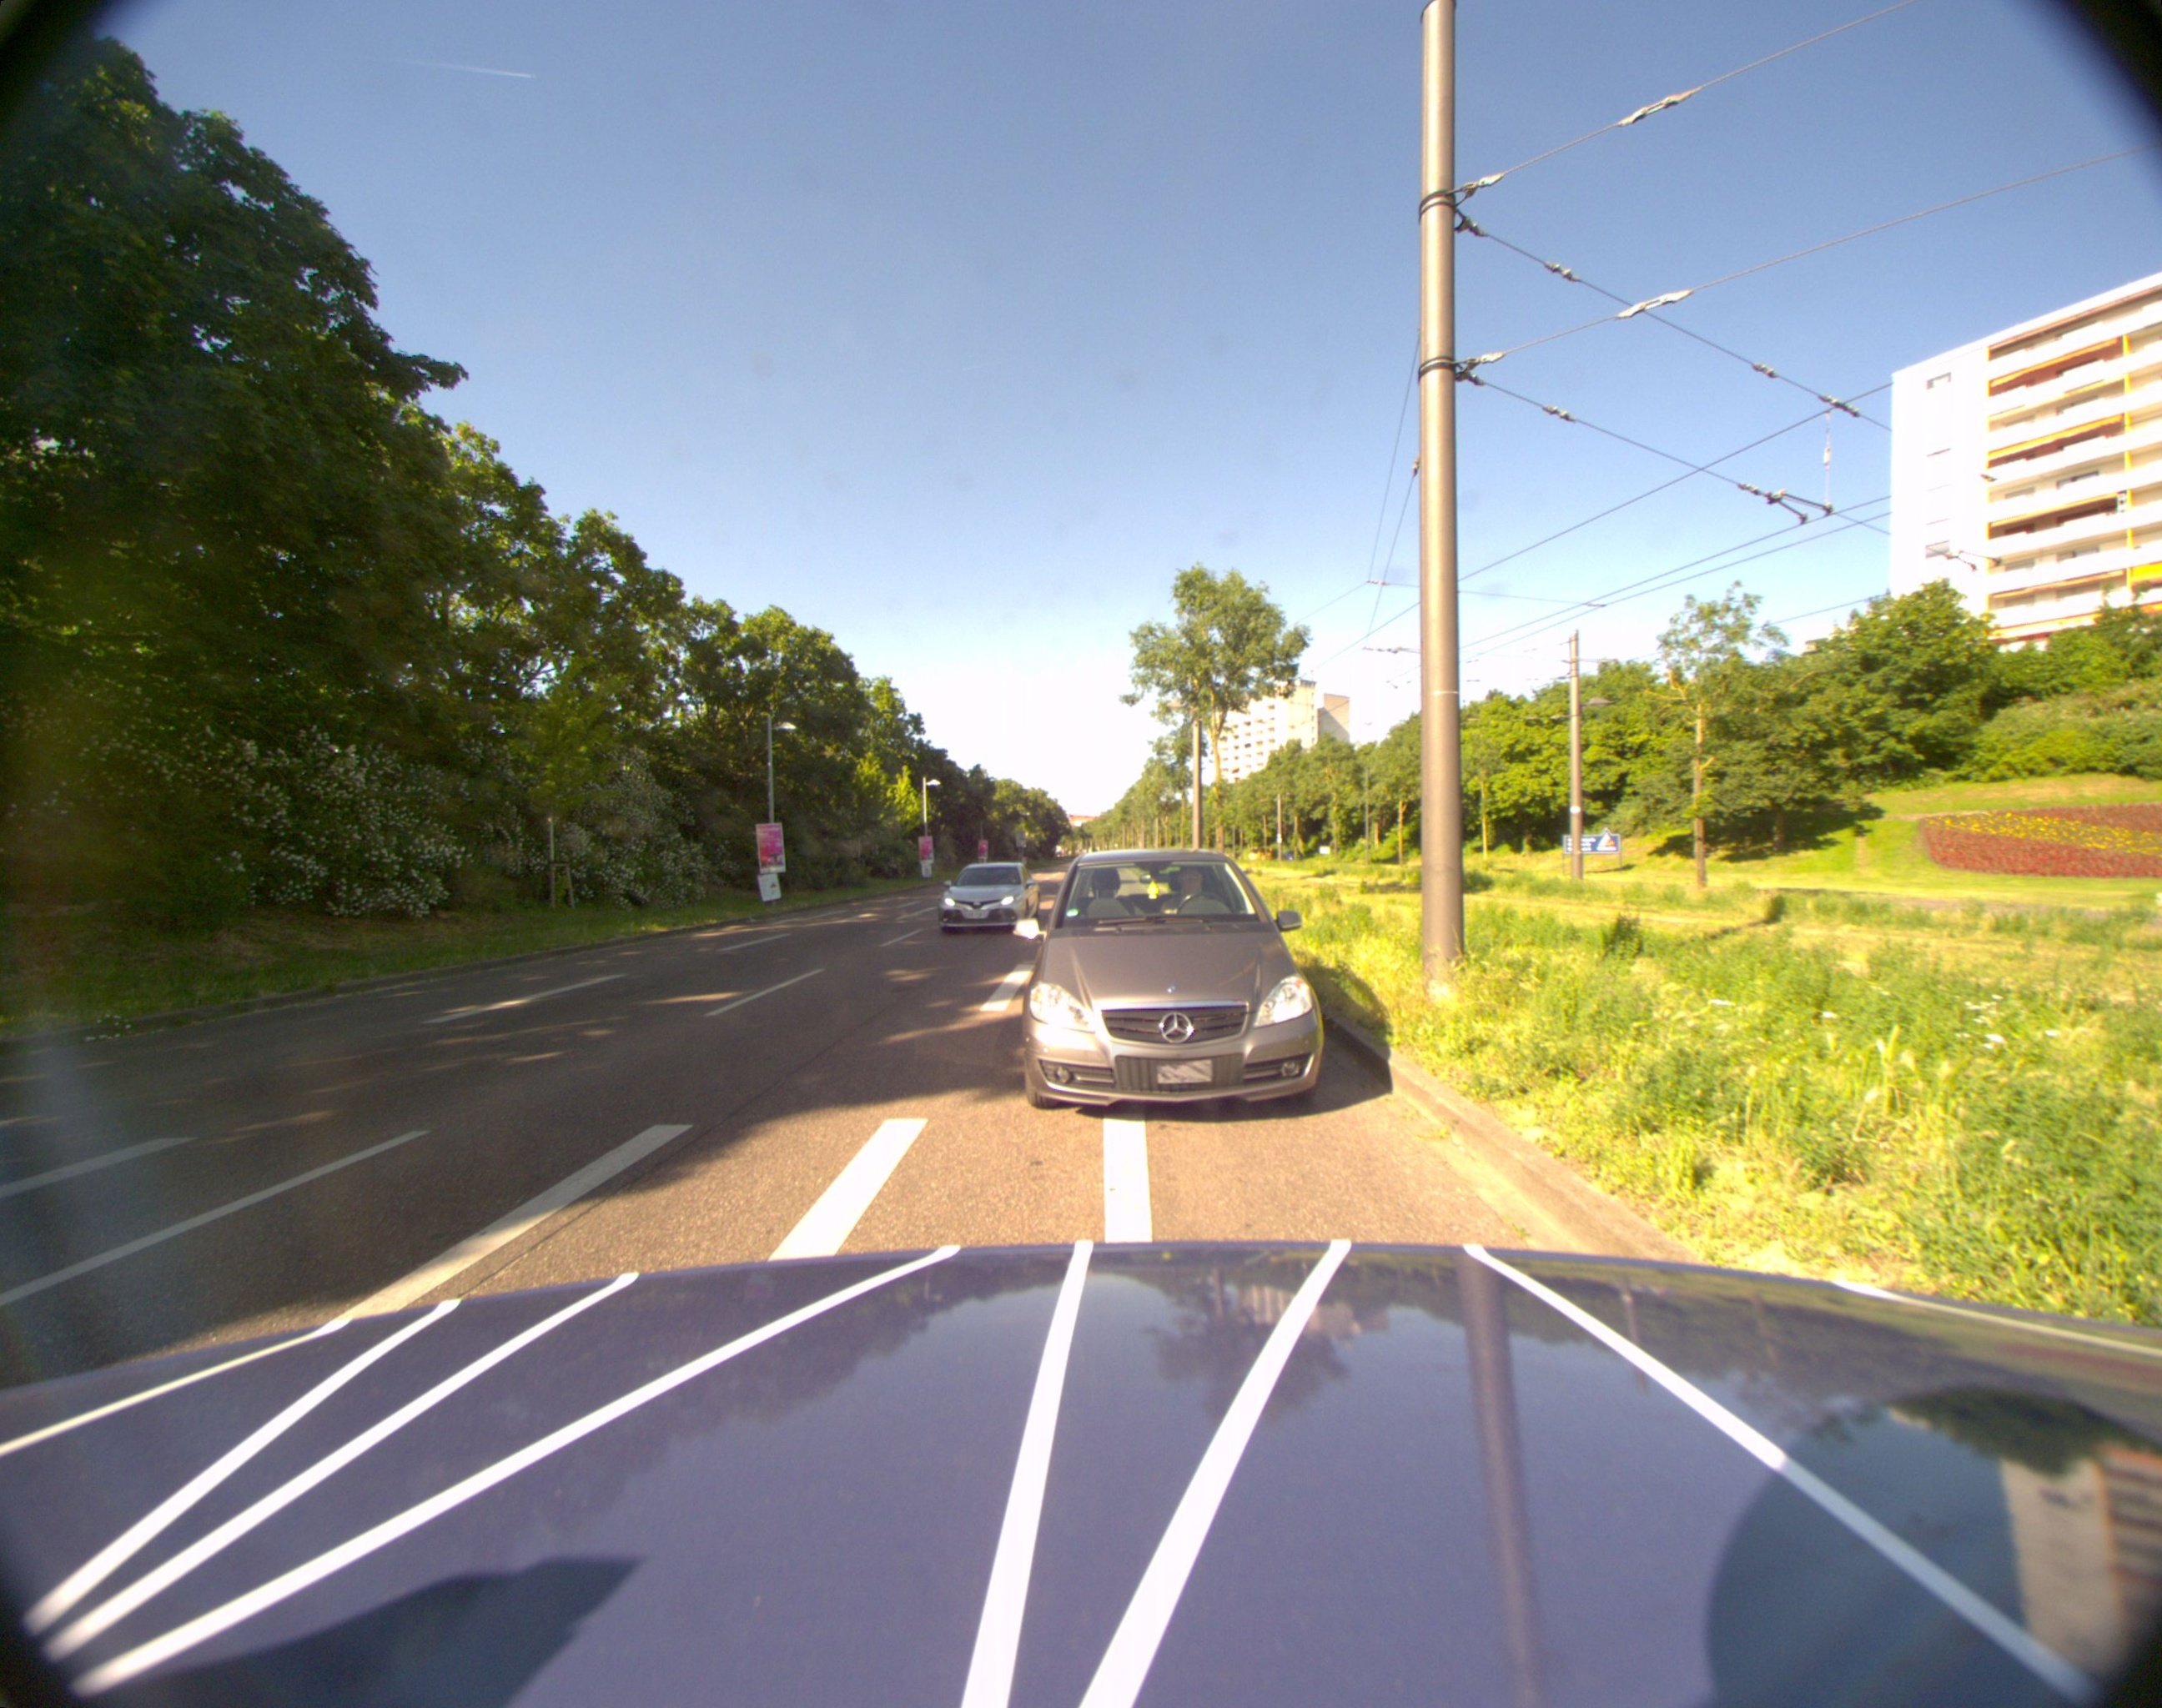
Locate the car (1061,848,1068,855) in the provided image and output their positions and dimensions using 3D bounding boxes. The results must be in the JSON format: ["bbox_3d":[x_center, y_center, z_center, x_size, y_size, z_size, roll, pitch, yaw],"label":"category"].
[{"bbox_3d":[-4.584,-0.686,210.822,1.998,1.702,4.000,-1,0,1],"label":"car"}]

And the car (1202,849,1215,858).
[{"bbox_3d":[21.958,-0.083,130.846,1.792,1.499,4.241,-1,0,3],"label":"car"}]

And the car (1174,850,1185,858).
[{"bbox_3d":[17.423,0.029,134.602,1.799,1.408,4.311,-1,0,4],"label":"car"}]

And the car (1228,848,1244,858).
[{"bbox_3d":[23.023,-0.170,113.136,1.780,1.368,4.001,-1,0,3],"label":"car"}]

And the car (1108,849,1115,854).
[{"bbox_3d":[9.612,-0.741,237.888,1.803,1.455,3.998,0,1,-4],"label":"car"}]

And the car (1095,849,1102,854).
[{"bbox_3d":[5.409,-0.704,239.476,1.803,1.455,3.998,0,1,-4],"label":"car"}]

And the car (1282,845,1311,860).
[{"bbox_3d":[23.257,-0.194,82.090,1.998,1.565,4.106,-1,0,1],"label":"car"}]

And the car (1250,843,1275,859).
[{"bbox_3d":[22.908,-0.379,96.043,1.998,1.955,4.907,-1,0,1],"label":"car"}]

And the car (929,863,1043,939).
[{"bbox_3d":[-2.026,0.970,17.557,1.875,1.428,4.594,-1,0,2],"label":"car"}]

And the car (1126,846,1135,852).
[{"bbox_3d":[13.506,-1.410,206.524,1.803,1.455,3.999,-2,0,-3],"label":"car"}]

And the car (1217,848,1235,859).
[{"bbox_3d":[20.081,-0.042,105.341,1.693,1.399,4.021,-1,0,1],"label":"car"}]

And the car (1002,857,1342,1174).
[{"bbox_3d":[0.502,0.855,5.922,1.759,1.612,3.880,-1,0,1],"label":"car"}]

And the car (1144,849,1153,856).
[{"bbox_3d":[15.439,-0.264,173.923,1.792,1.499,4.241,-1,0,4],"label":"car"}]
